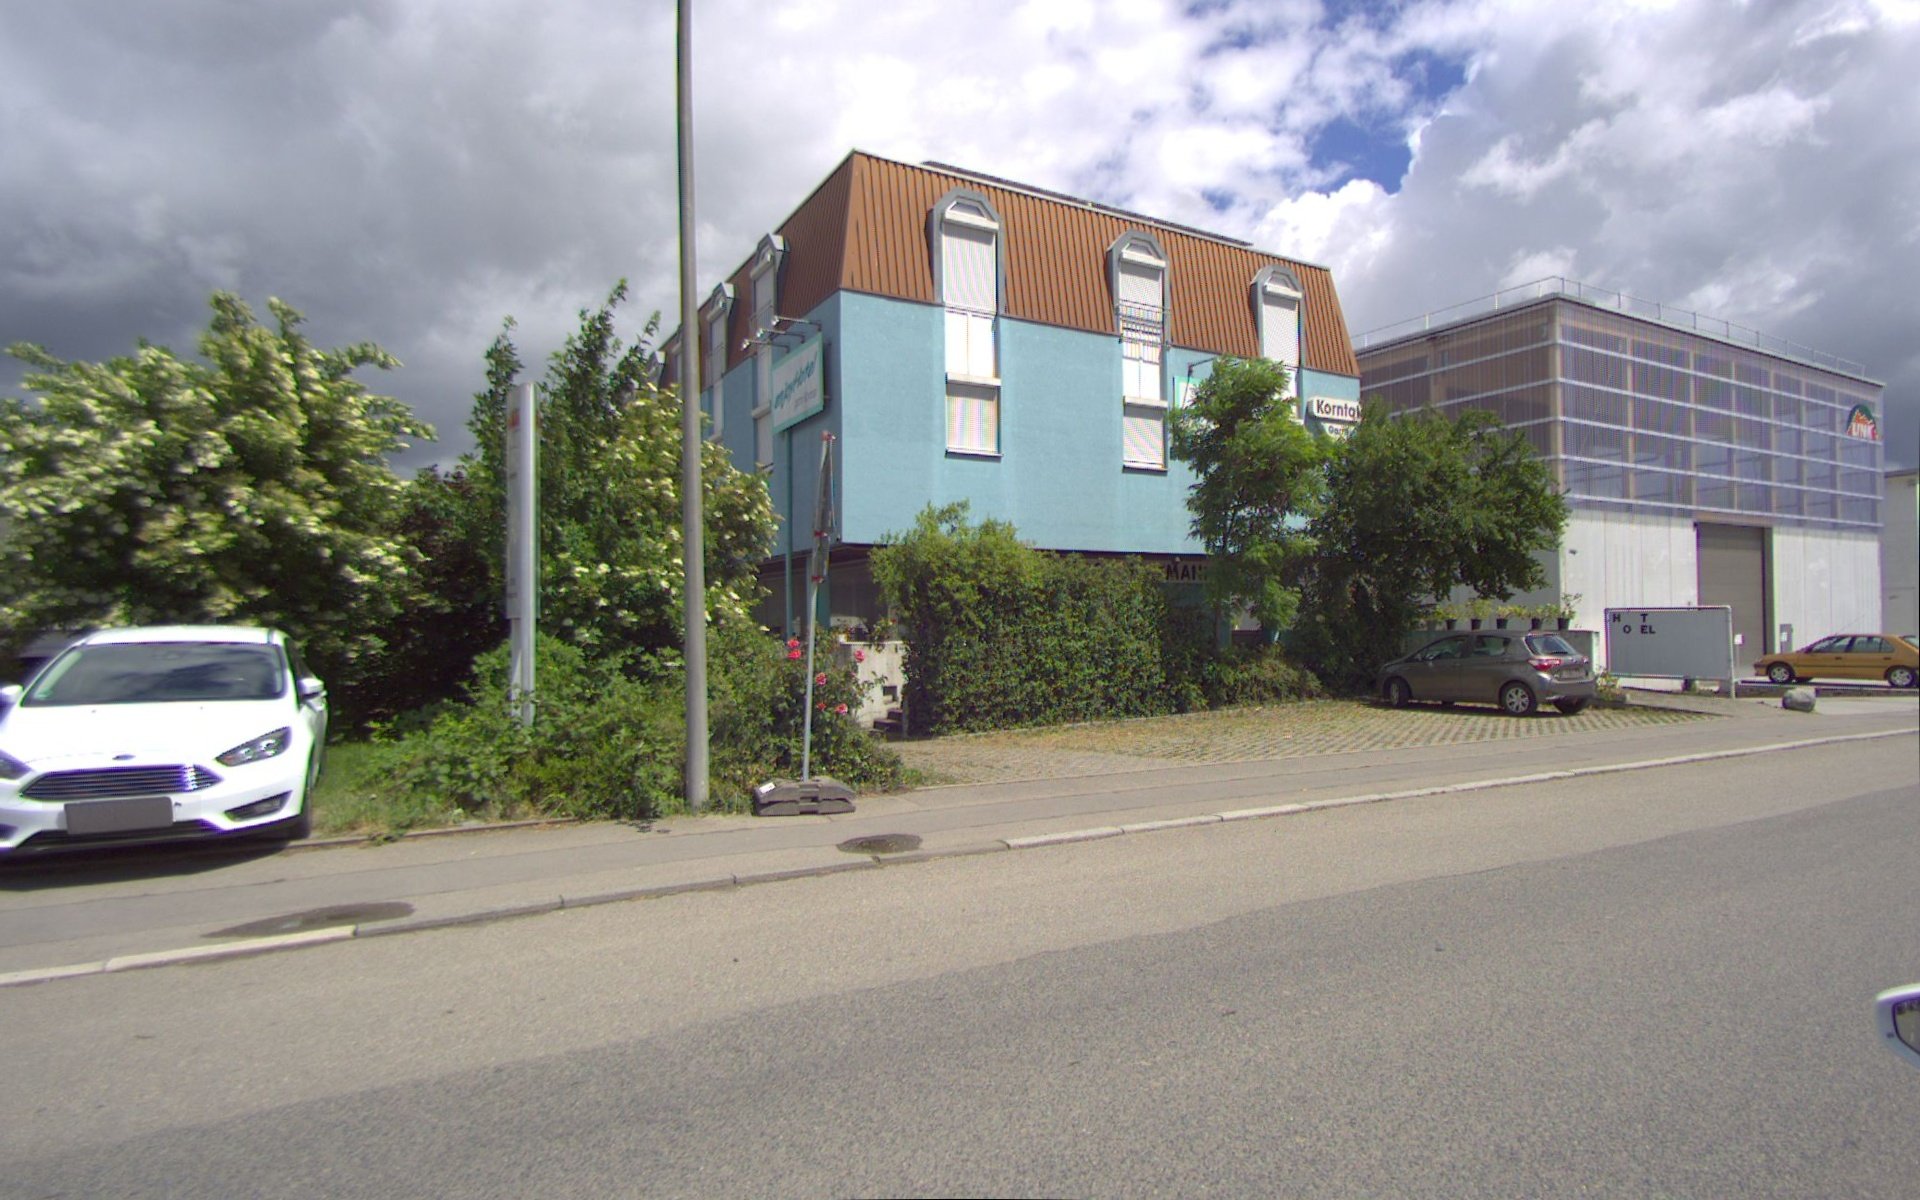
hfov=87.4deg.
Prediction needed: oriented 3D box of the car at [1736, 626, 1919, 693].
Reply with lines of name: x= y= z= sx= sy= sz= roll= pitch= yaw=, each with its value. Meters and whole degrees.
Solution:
car: x=23.994 y=1.565 z=27.403 sx=1.806 sy=1.512 sz=4.126 roll=0 pitch=1 yaw=-33

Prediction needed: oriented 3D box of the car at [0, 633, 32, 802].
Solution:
car: x=-8.070 y=0.922 z=6.607 sx=1.847 sy=1.373 sz=3.973 roll=0 pitch=-2 yaw=-27

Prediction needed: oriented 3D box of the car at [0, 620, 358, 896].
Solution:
car: x=-5.788 y=0.933 z=7.653 sx=1.849 sy=1.498 sz=4.356 roll=2 pitch=-2 yaw=-29

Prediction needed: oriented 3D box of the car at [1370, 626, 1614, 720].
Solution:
car: x=9.857 y=1.276 z=18.879 sx=1.954 sy=1.553 sz=3.615 roll=0 pitch=-1 yaw=-27
